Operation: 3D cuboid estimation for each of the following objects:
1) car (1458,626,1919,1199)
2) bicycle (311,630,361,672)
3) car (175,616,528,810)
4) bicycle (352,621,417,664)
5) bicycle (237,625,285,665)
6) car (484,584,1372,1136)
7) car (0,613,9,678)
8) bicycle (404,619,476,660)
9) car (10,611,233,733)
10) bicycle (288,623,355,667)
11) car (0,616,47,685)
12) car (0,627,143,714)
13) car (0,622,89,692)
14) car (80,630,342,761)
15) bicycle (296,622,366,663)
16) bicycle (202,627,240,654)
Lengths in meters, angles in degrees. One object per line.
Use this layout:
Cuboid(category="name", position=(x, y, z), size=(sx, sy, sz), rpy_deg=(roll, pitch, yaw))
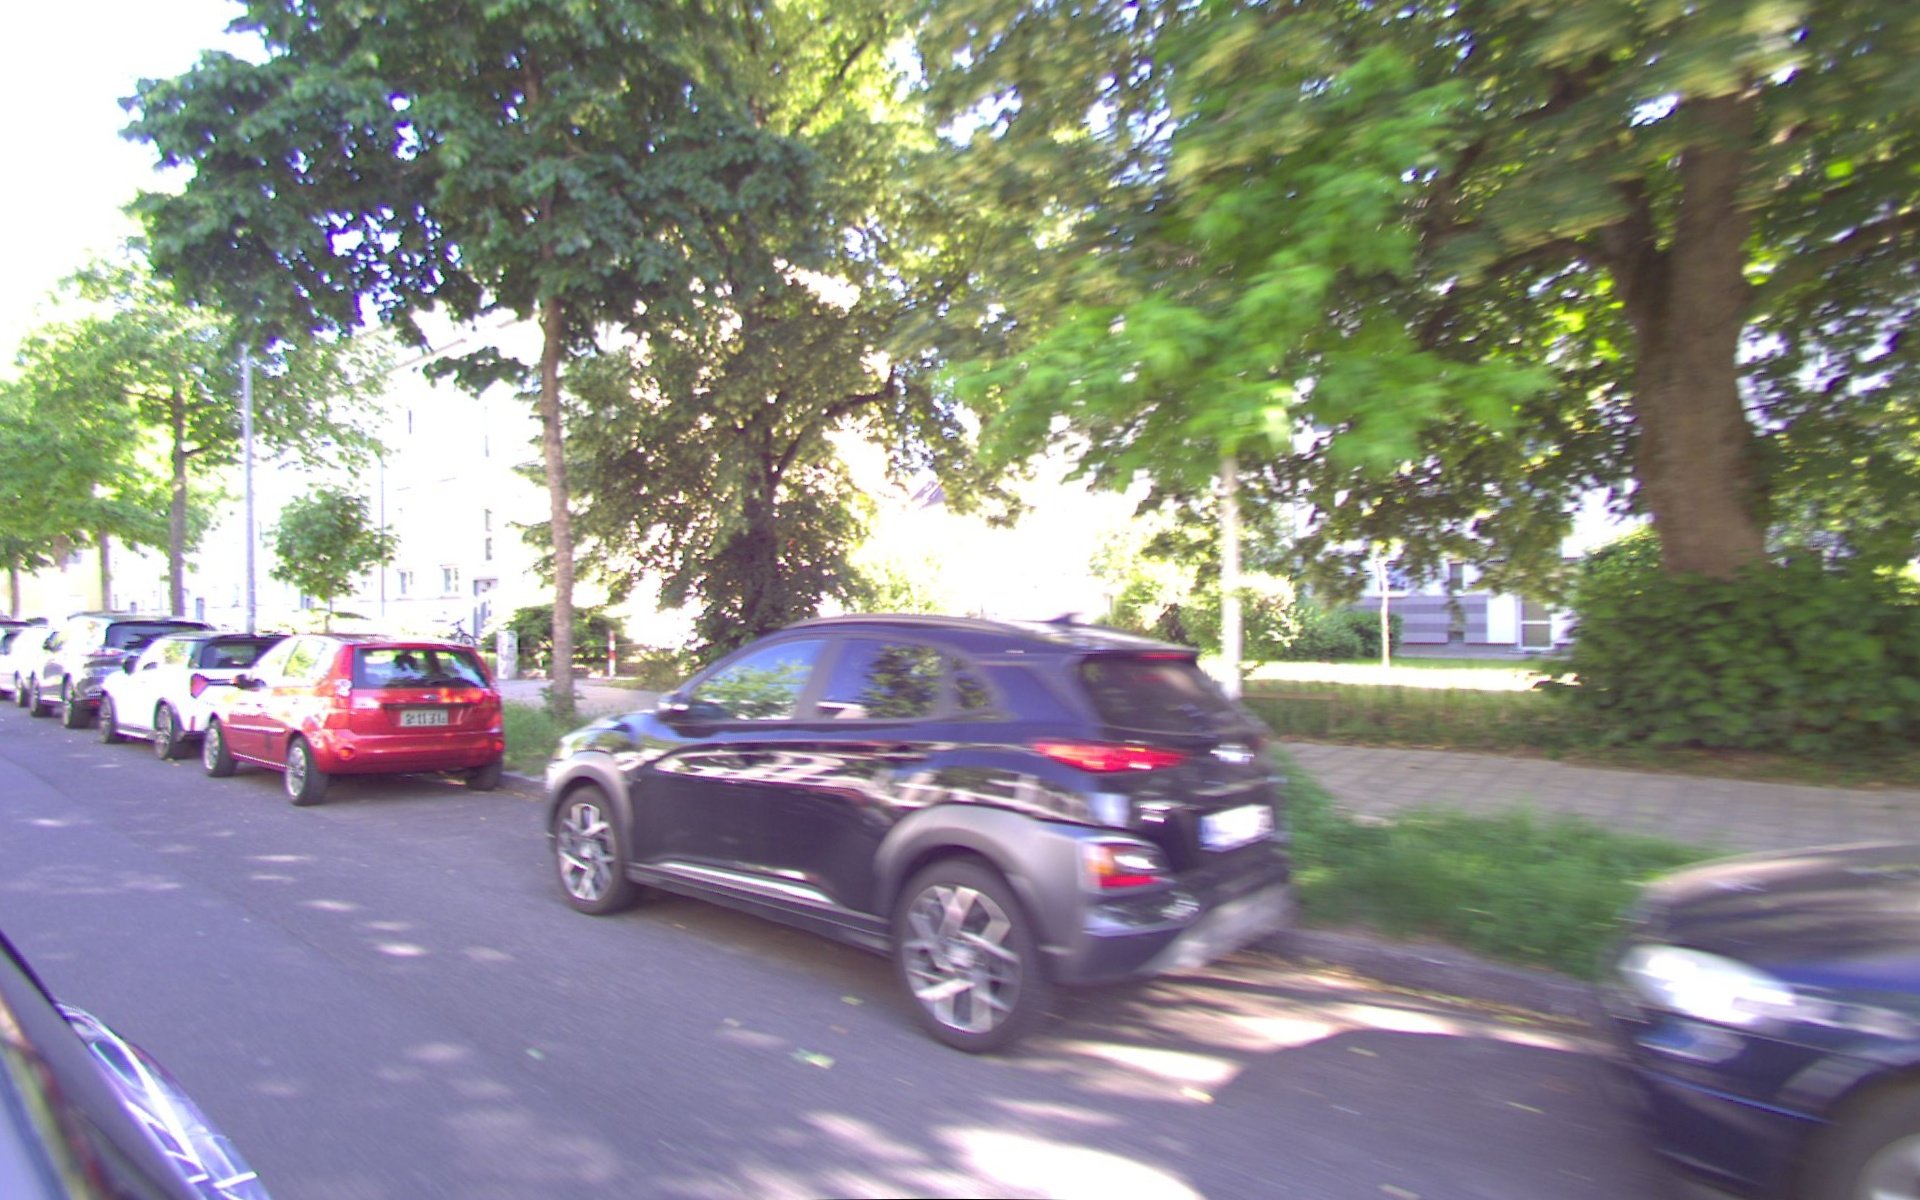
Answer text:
Cuboid(category="car", position=(3.508, 0.726, 1.752), size=(4.476, 1.363, 1.767), rpy_deg=(-1, -2, 39))
Cuboid(category="bicycle", position=(-16.639, 1.340, 26.970), size=(1.932, 1.069, 0.566), rpy_deg=(-1, -1, 41))
Cuboid(category="car", position=(-6.028, 0.934, 9.848), size=(4.064, 1.516, 1.638), rpy_deg=(-1, -2, 39))
Cuboid(category="bicycle", position=(-17.775, 1.297, 31.276), size=(0.590, 1.235, 1.618), rpy_deg=(-1, 0, 40))
Cuboid(category="bicycle", position=(-21.663, 1.385, 31.333), size=(2.258, 1.199, 0.589), rpy_deg=(-1, -2, 39))
Cuboid(category="car", position=(-0.524, 0.806, 5.049), size=(4.479, 1.589, 1.688), rpy_deg=(-2, -2, 41))
Cuboid(category="car", position=(-29.759, 1.345, 29.969), size=(4.863, 1.864, 1.775), rpy_deg=(-2, -2, 40))
Cuboid(category="bicycle", position=(-16.883, 1.266, 32.887), size=(0.776, 1.235, 1.934), rpy_deg=(-1, 0, 37))
Cuboid(category="car", position=(-13.490, 1.051, 16.166), size=(5.083, 1.669, 1.823), rpy_deg=(-1, -2, 40))
Cuboid(category="bicycle", position=(-18.900, 1.315, 29.964), size=(0.515, 1.235, 1.623), rpy_deg=(-1, 0, 30))
Cuboid(category="car", position=(-25.698, 1.302, 26.533), size=(4.519, 1.699, 1.777), rpy_deg=(-1, -2, 37))
Cuboid(category="car", position=(-17.510, 1.286, 19.613), size=(4.484, 1.492, 1.690), rpy_deg=(-1, -2, 39))
Cuboid(category="car", position=(-21.342, 1.242, 22.860), size=(4.485, 1.463, 1.776), rpy_deg=(-1, -2, 39))
Cuboid(category="car", position=(-9.495, 1.075, 12.719), size=(4.184, 1.384, 1.638), rpy_deg=(-1, -2, 39))
Cuboid(category="bicycle", position=(-19.955, 1.335, 32.142), size=(0.517, 1.235, 1.802), rpy_deg=(-1, 0, 41))
Cuboid(category="bicycle", position=(-26.011, 1.424, 35.621), size=(1.901, 0.923, 0.589), rpy_deg=(-1, -2, 39))
